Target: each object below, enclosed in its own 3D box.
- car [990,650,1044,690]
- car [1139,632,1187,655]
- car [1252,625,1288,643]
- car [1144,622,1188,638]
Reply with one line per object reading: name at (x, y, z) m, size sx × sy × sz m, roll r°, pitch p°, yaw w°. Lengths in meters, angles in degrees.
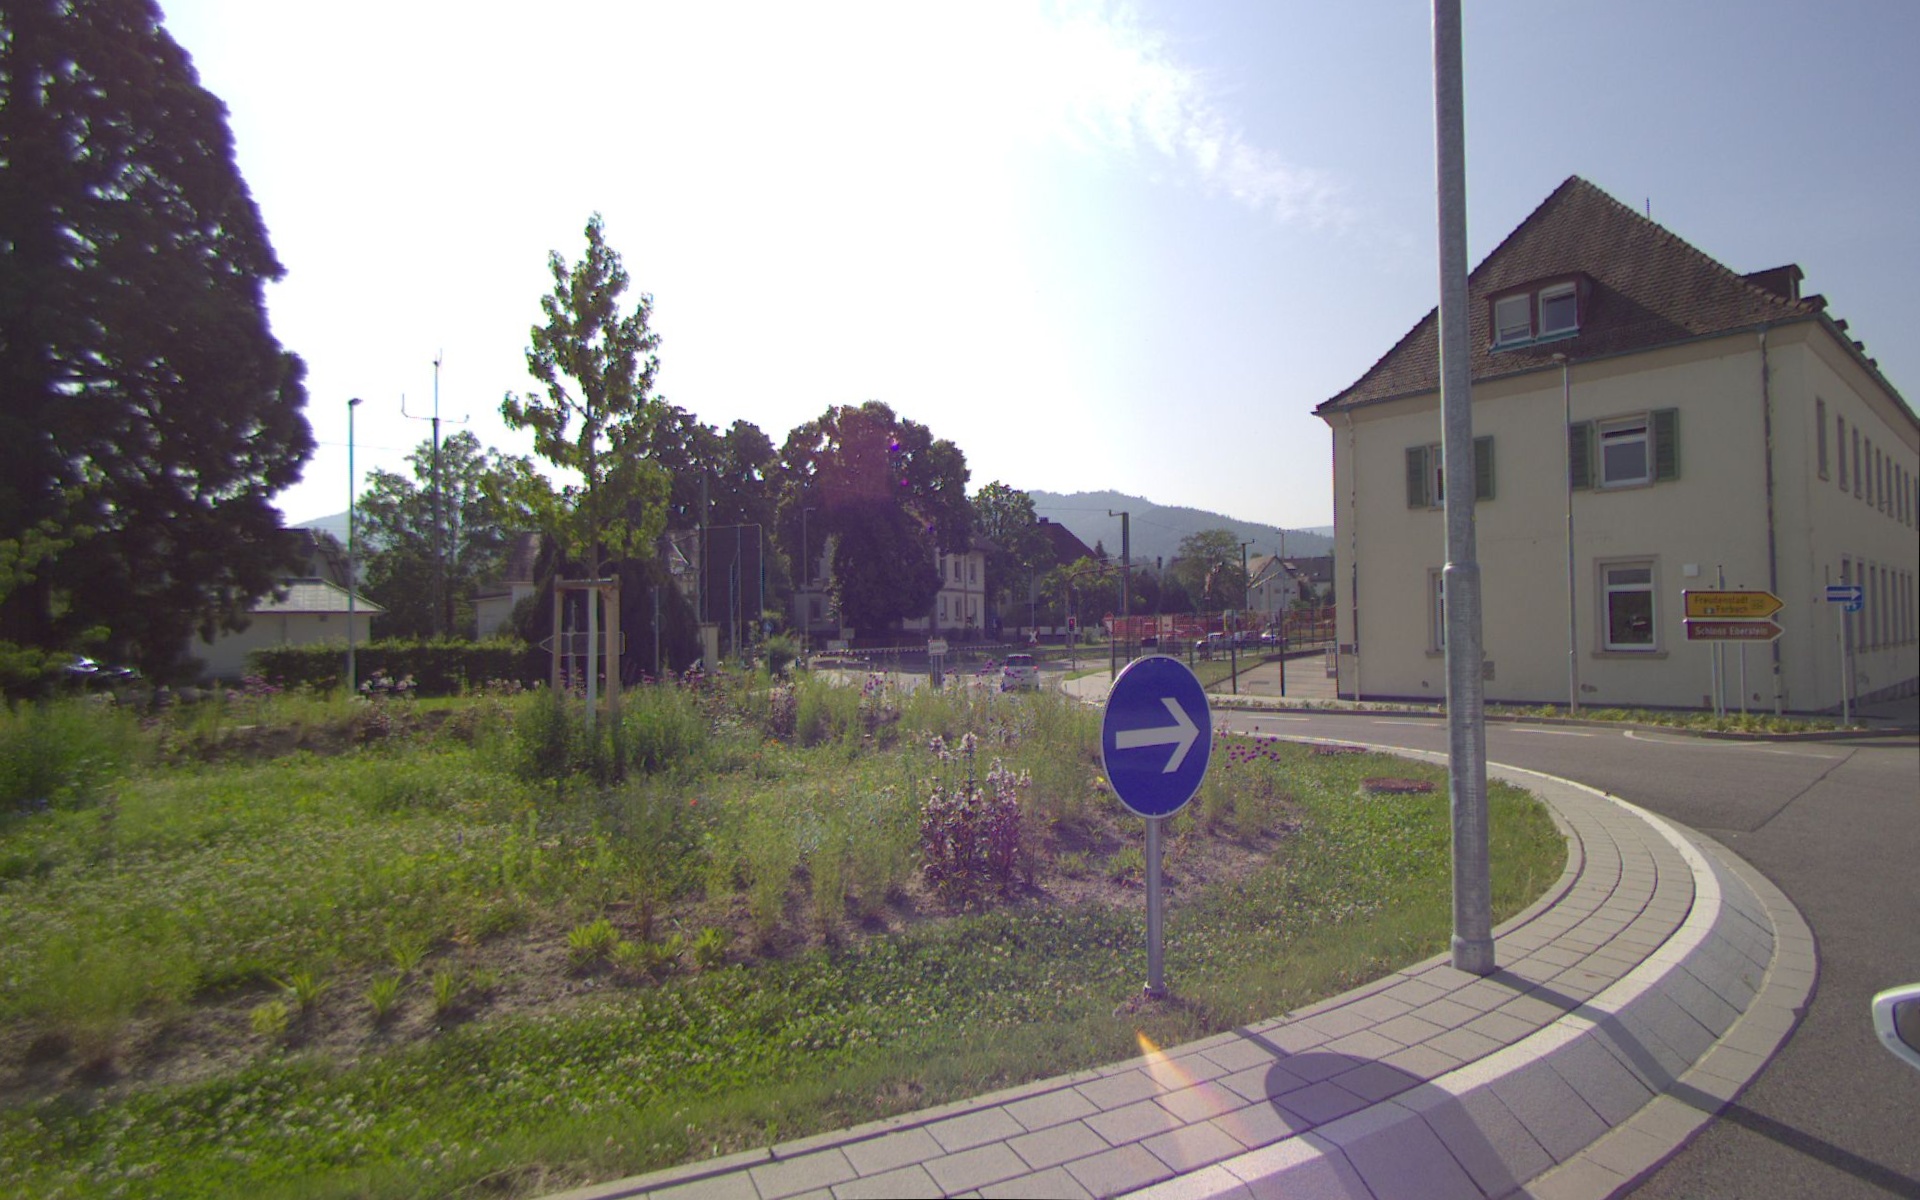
car at (2.438, 3.001, 43.767) m, size 1.682 × 1.416 × 3.995 m, roll 0°, pitch 0°, yaw -7°
car at (14.609, 3.107, 72.112) m, size 1.688 × 1.416 × 3.981 m, roll 0°, pitch 0°, yaw 40°
car at (27.255, 2.980, 88.236) m, size 1.688 × 1.416 × 3.981 m, roll 0°, pitch 0°, yaw 40°
car at (20.420, 2.966, 99.604) m, size 3.934 × 1.416 × 1.709 m, roll 0°, pitch 0°, yaw 35°
